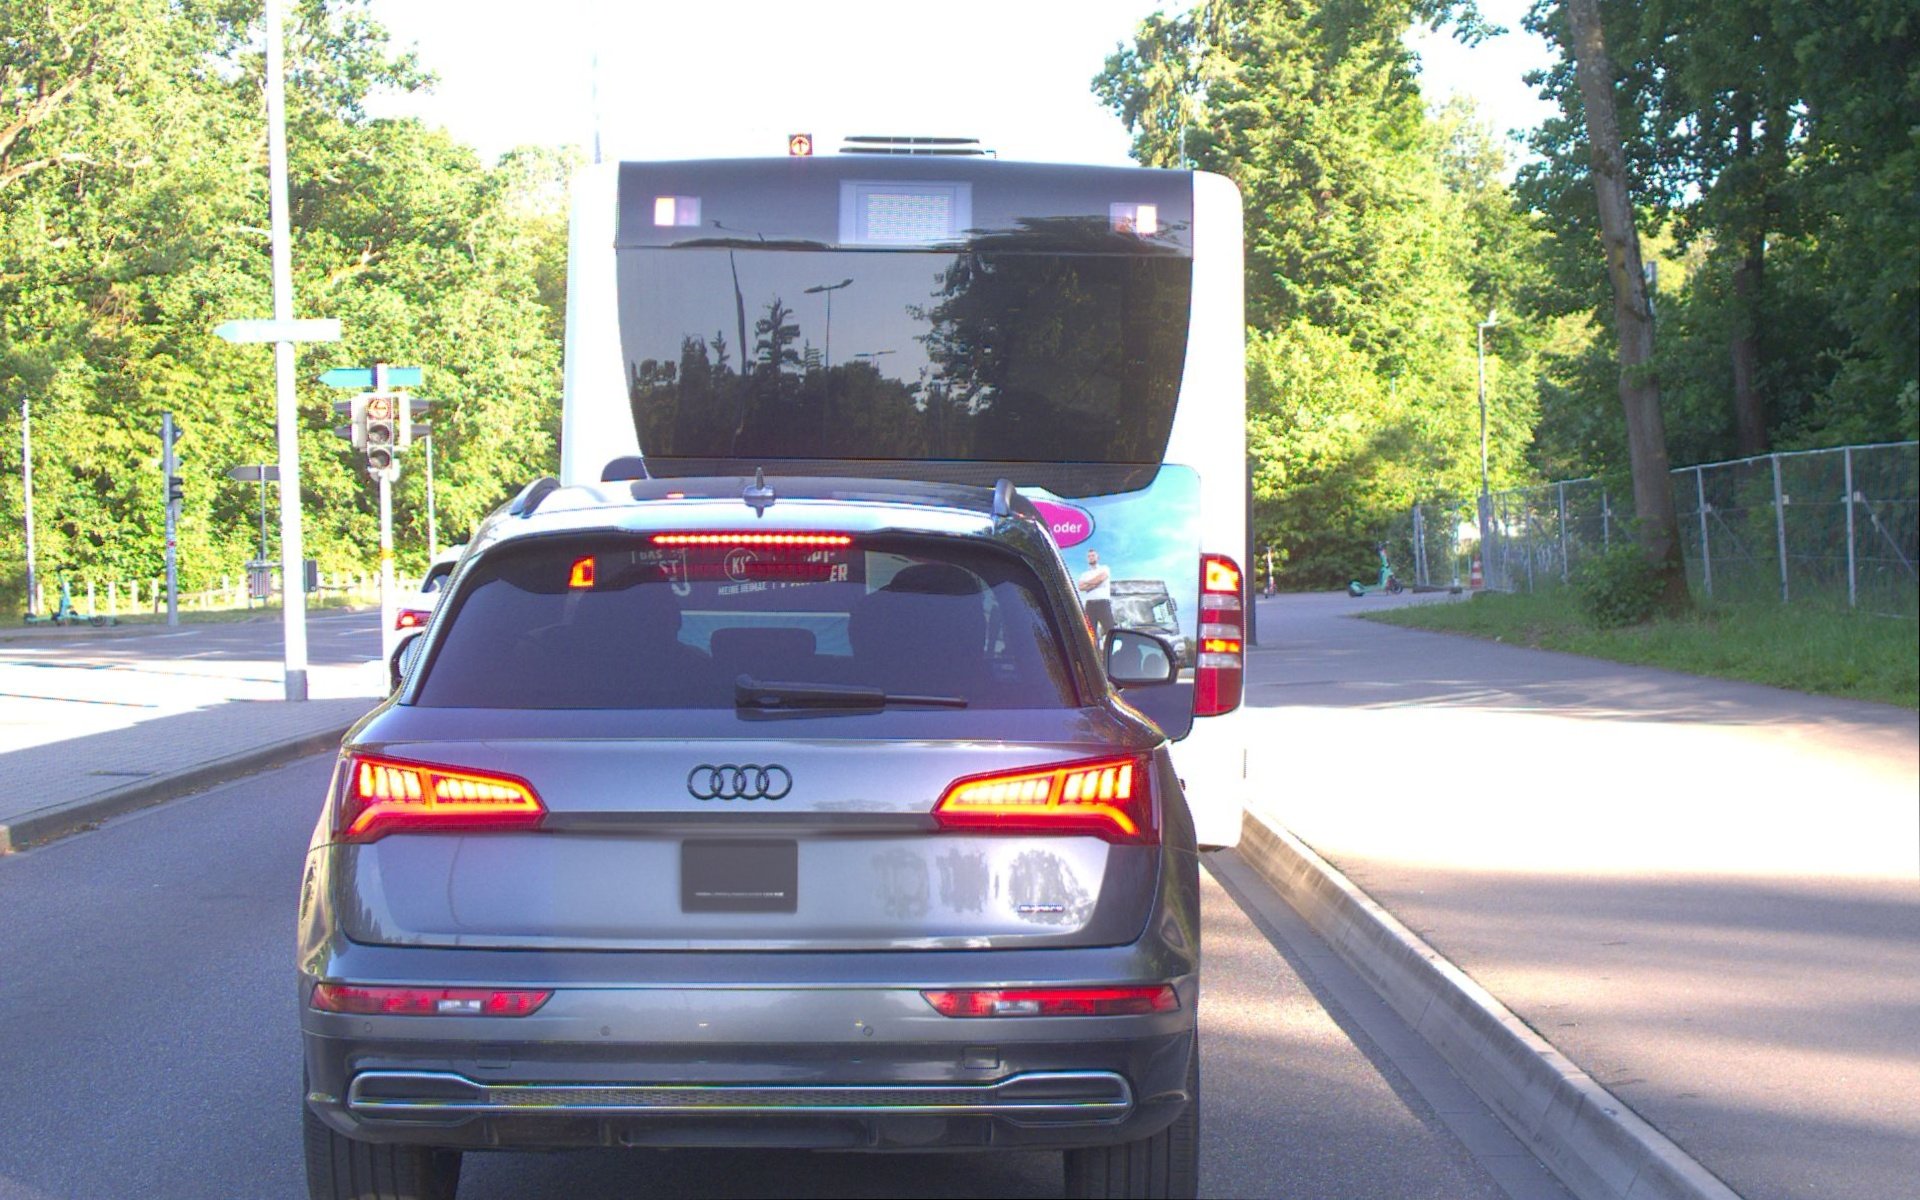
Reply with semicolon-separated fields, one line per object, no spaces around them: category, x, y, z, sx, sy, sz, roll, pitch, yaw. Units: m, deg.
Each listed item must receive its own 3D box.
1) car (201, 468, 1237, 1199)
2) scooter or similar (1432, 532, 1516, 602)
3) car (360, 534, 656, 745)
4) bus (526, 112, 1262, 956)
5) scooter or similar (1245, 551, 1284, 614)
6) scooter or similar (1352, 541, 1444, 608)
car;-0.468;0.542;8.341;1.898;1.626;4.000;0;1;-1
scooter or similar;11.829;-0.752;79.165;0.539;1.562;2.022;-3;1;-40
car;-3.520;0.259;27.423;1.836;1.513;4.000;-2;1;-1
bus;-0.285;-0.268;16.831;2.594;2.978;9.327;0;0;-1
scooter or similar;7.139;-0.418;80.638;0.508;1.439;2.023;-2;1;-6
scooter or similar;9.918;-0.573;77.869;2.015;1.439;0.606;-2;1;-25
